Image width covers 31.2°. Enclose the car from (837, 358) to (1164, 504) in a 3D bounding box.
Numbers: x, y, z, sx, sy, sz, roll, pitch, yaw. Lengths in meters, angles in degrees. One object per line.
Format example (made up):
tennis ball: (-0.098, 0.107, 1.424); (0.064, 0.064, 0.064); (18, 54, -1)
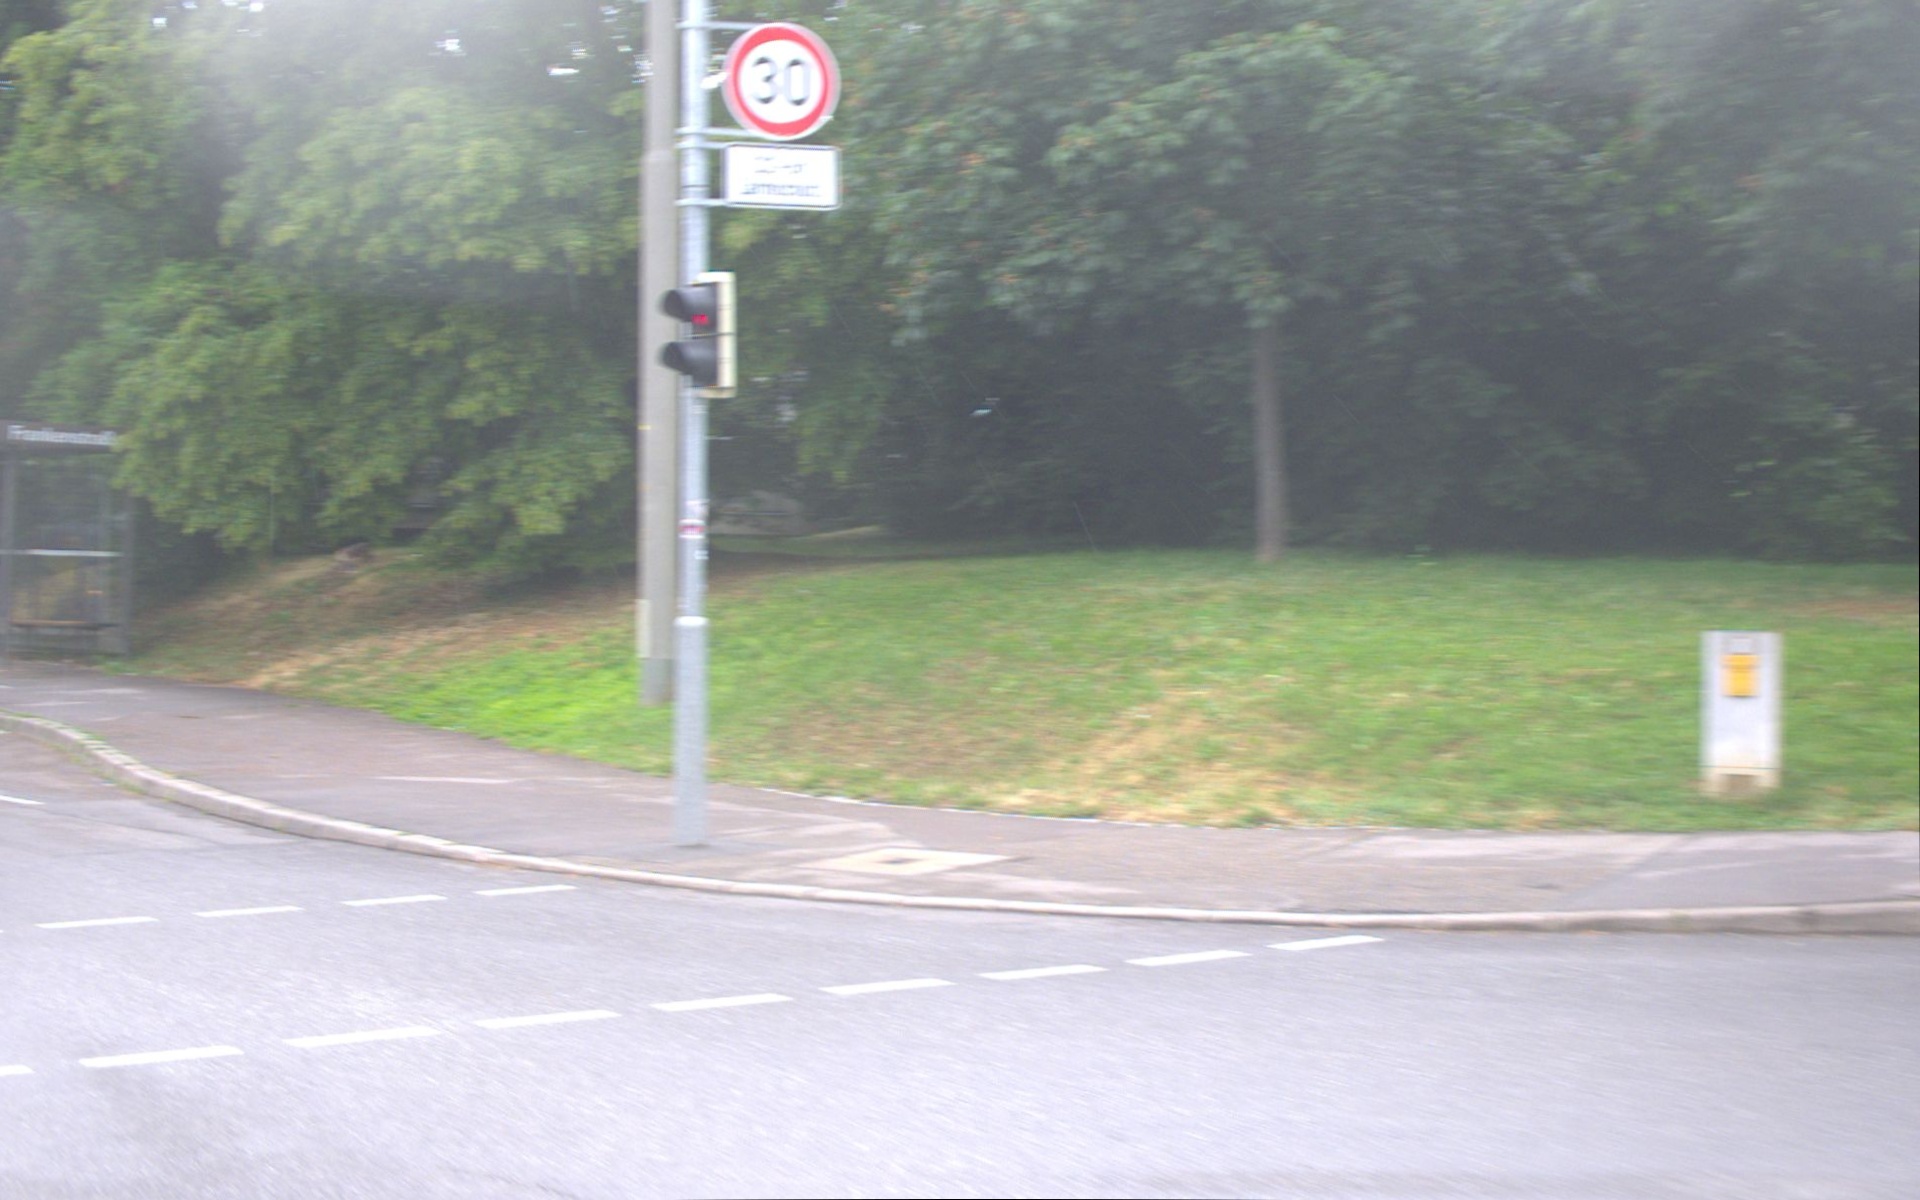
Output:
car: (0.578, -2.469, 49.963); (4.313, 1.773, 1.802); (-5, 4, -16)
